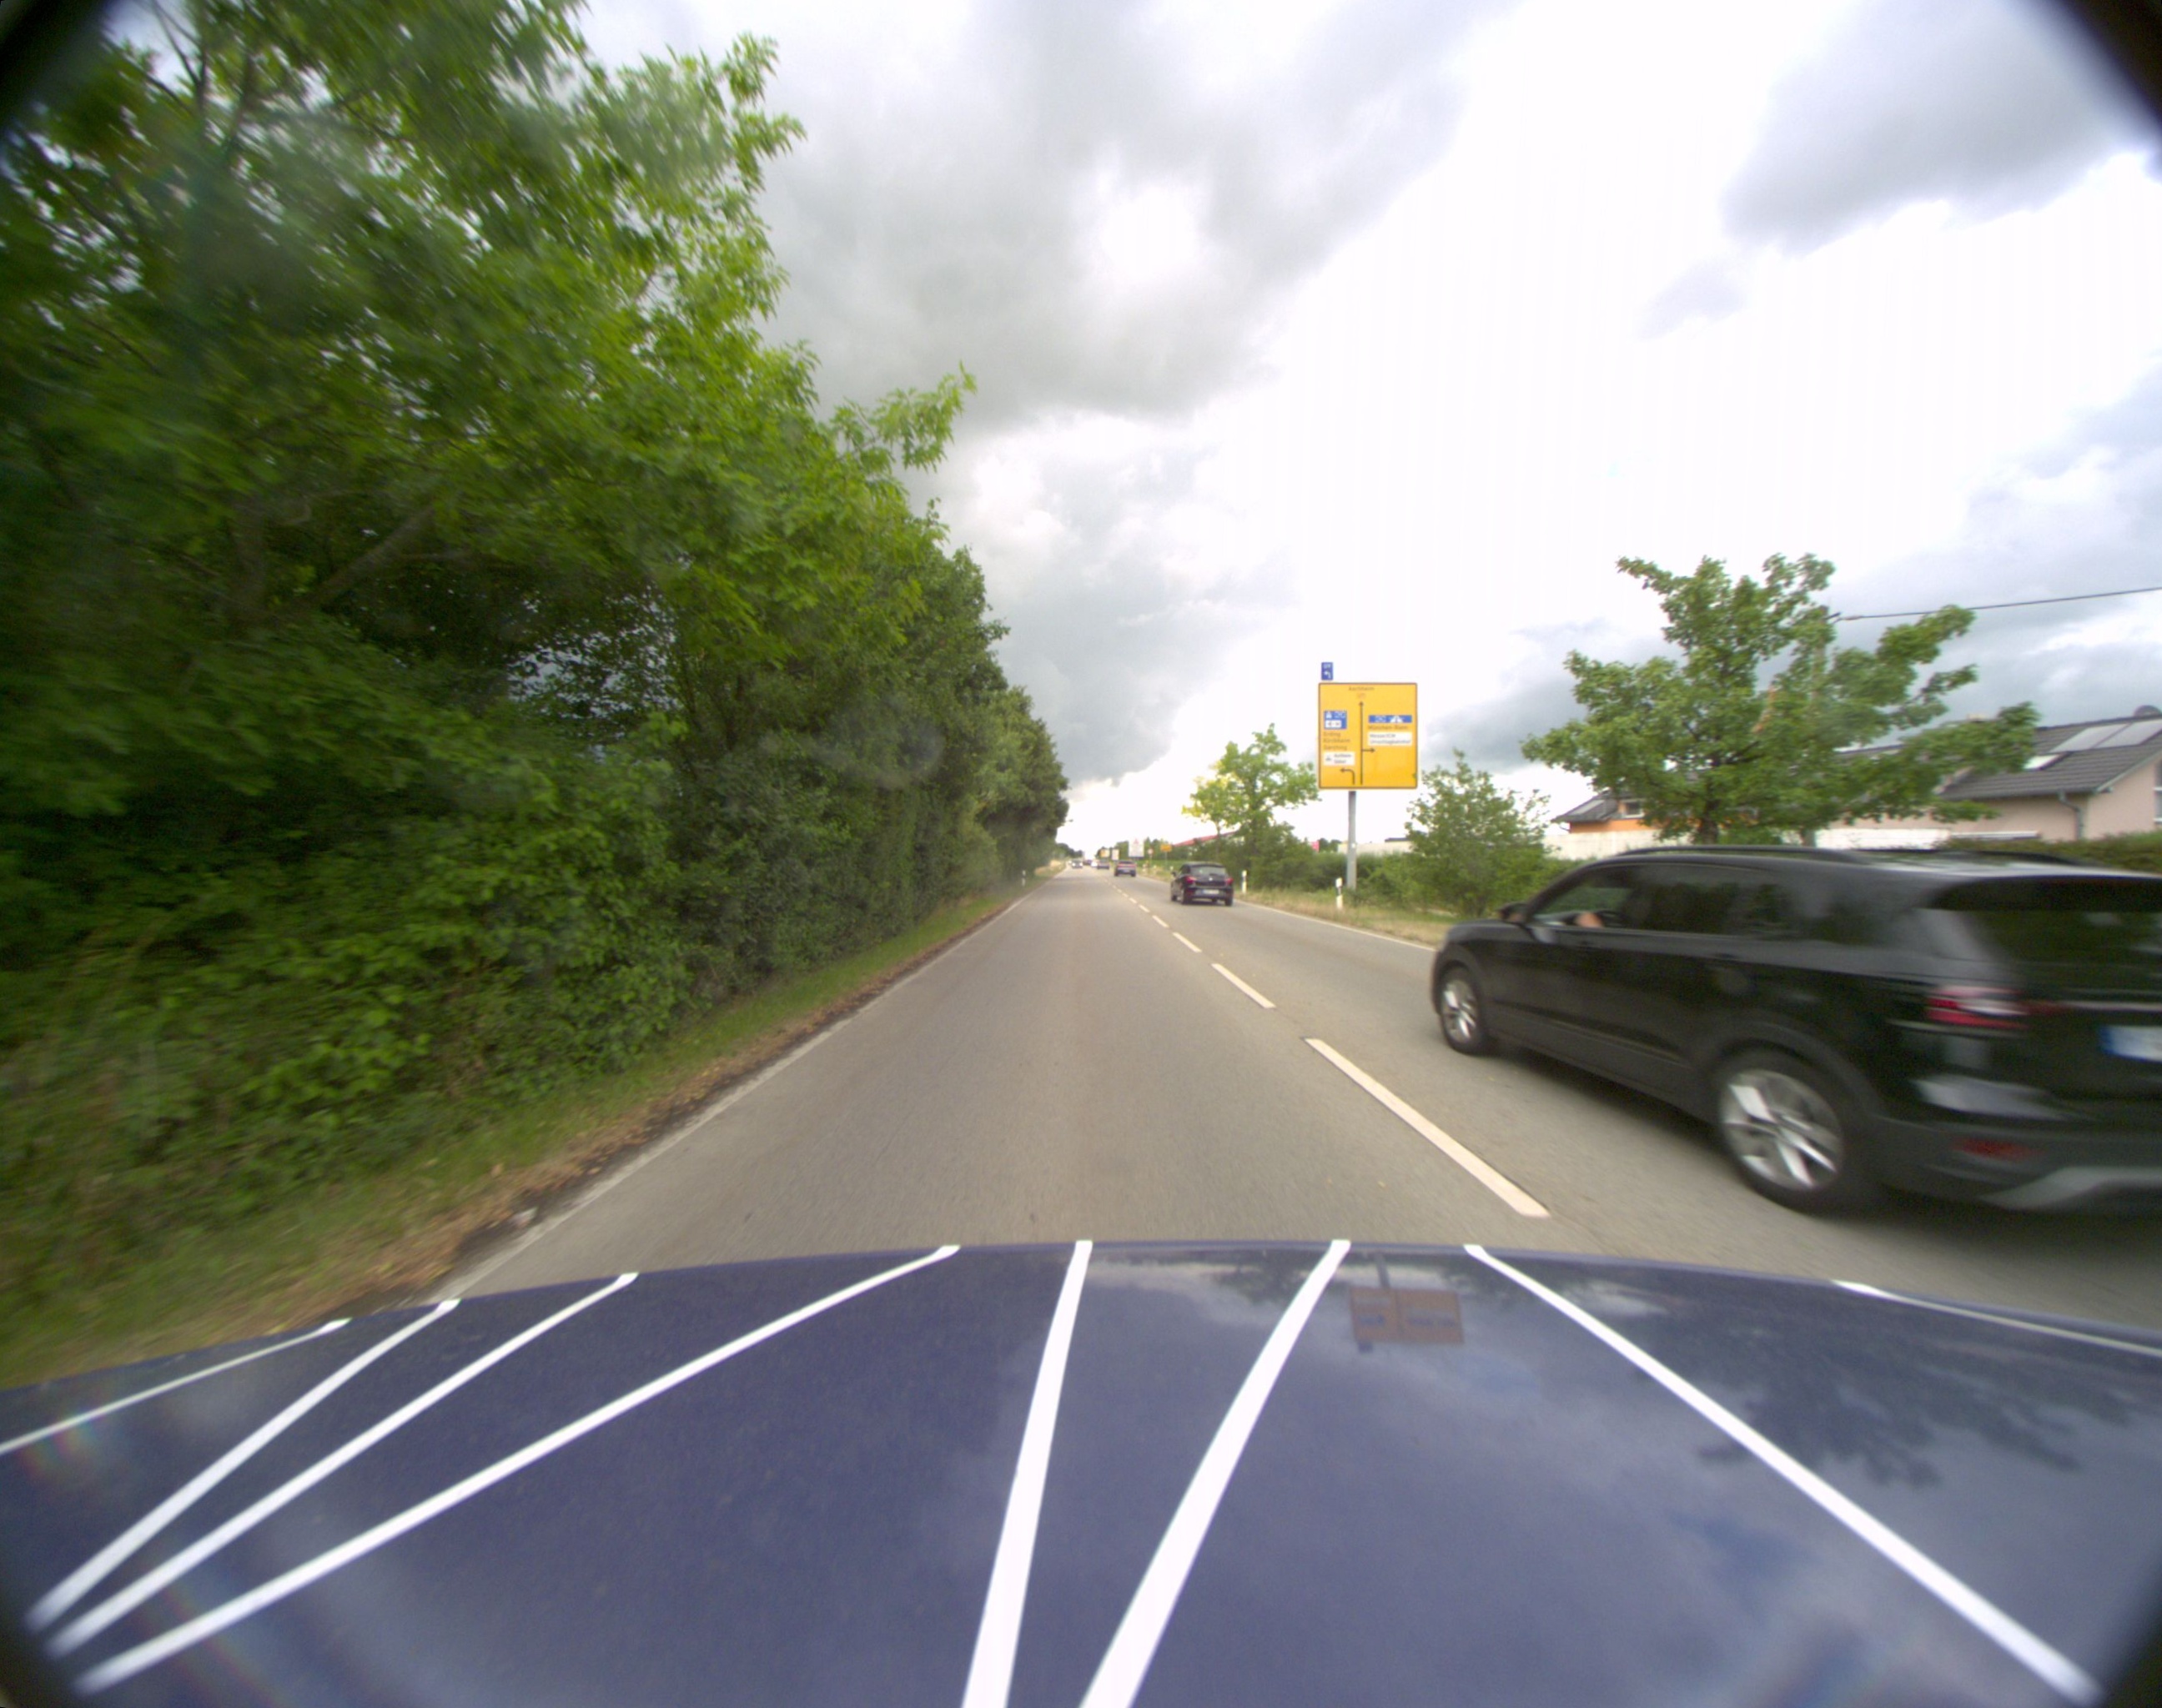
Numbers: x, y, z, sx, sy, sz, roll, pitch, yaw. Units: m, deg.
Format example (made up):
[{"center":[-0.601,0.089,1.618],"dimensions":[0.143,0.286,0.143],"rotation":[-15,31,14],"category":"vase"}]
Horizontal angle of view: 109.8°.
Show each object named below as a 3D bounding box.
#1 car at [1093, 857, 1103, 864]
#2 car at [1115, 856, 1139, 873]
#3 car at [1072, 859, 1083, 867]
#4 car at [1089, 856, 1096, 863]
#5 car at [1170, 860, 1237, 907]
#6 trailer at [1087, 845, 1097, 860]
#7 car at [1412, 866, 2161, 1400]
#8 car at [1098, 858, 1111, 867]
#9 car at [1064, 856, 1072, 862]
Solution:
[{"center":[3.369,1.281,148.191],"dimensions":[1.777,1.365,4.100],"rotation":[1,0,0],"category":"car"},{"center":[4.169,0.957,69.076],"dimensions":[1.820,1.485,4.204],"rotation":[1,0,0],"category":"car"},{"center":[-0.617,1.555,133.022],"dimensions":[1.869,1.352,3.826],"rotation":[0,0,0],"category":"car"},{"center":[2.898,1.393,196.075],"dimensions":[1.733,1.577,4.504],"rotation":[1,0,0],"category":"car"},{"center":[4.119,0.945,26.113],"dimensions":[1.681,1.403,4.012],"rotation":[2,0,1],"category":"car"},{"center":[2.999,-0.429,218.088],"dimensions":[2.641,4.096,13.765],"rotation":[0,0,0],"category":"trailer"},{"center":[3.702,0.871,4.303],"dimensions":[1.738,1.525,4.094],"rotation":[1,0,-2],"category":"car"},{"center":[3.680,1.322,119.606],"dimensions":[1.857,1.456,4.370],"rotation":[1,0,-1],"category":"car"},{"center":[-3.335,1.291,193.069],"dimensions":[1.777,1.407,4.079],"rotation":[1,0,0],"category":"car"}]
